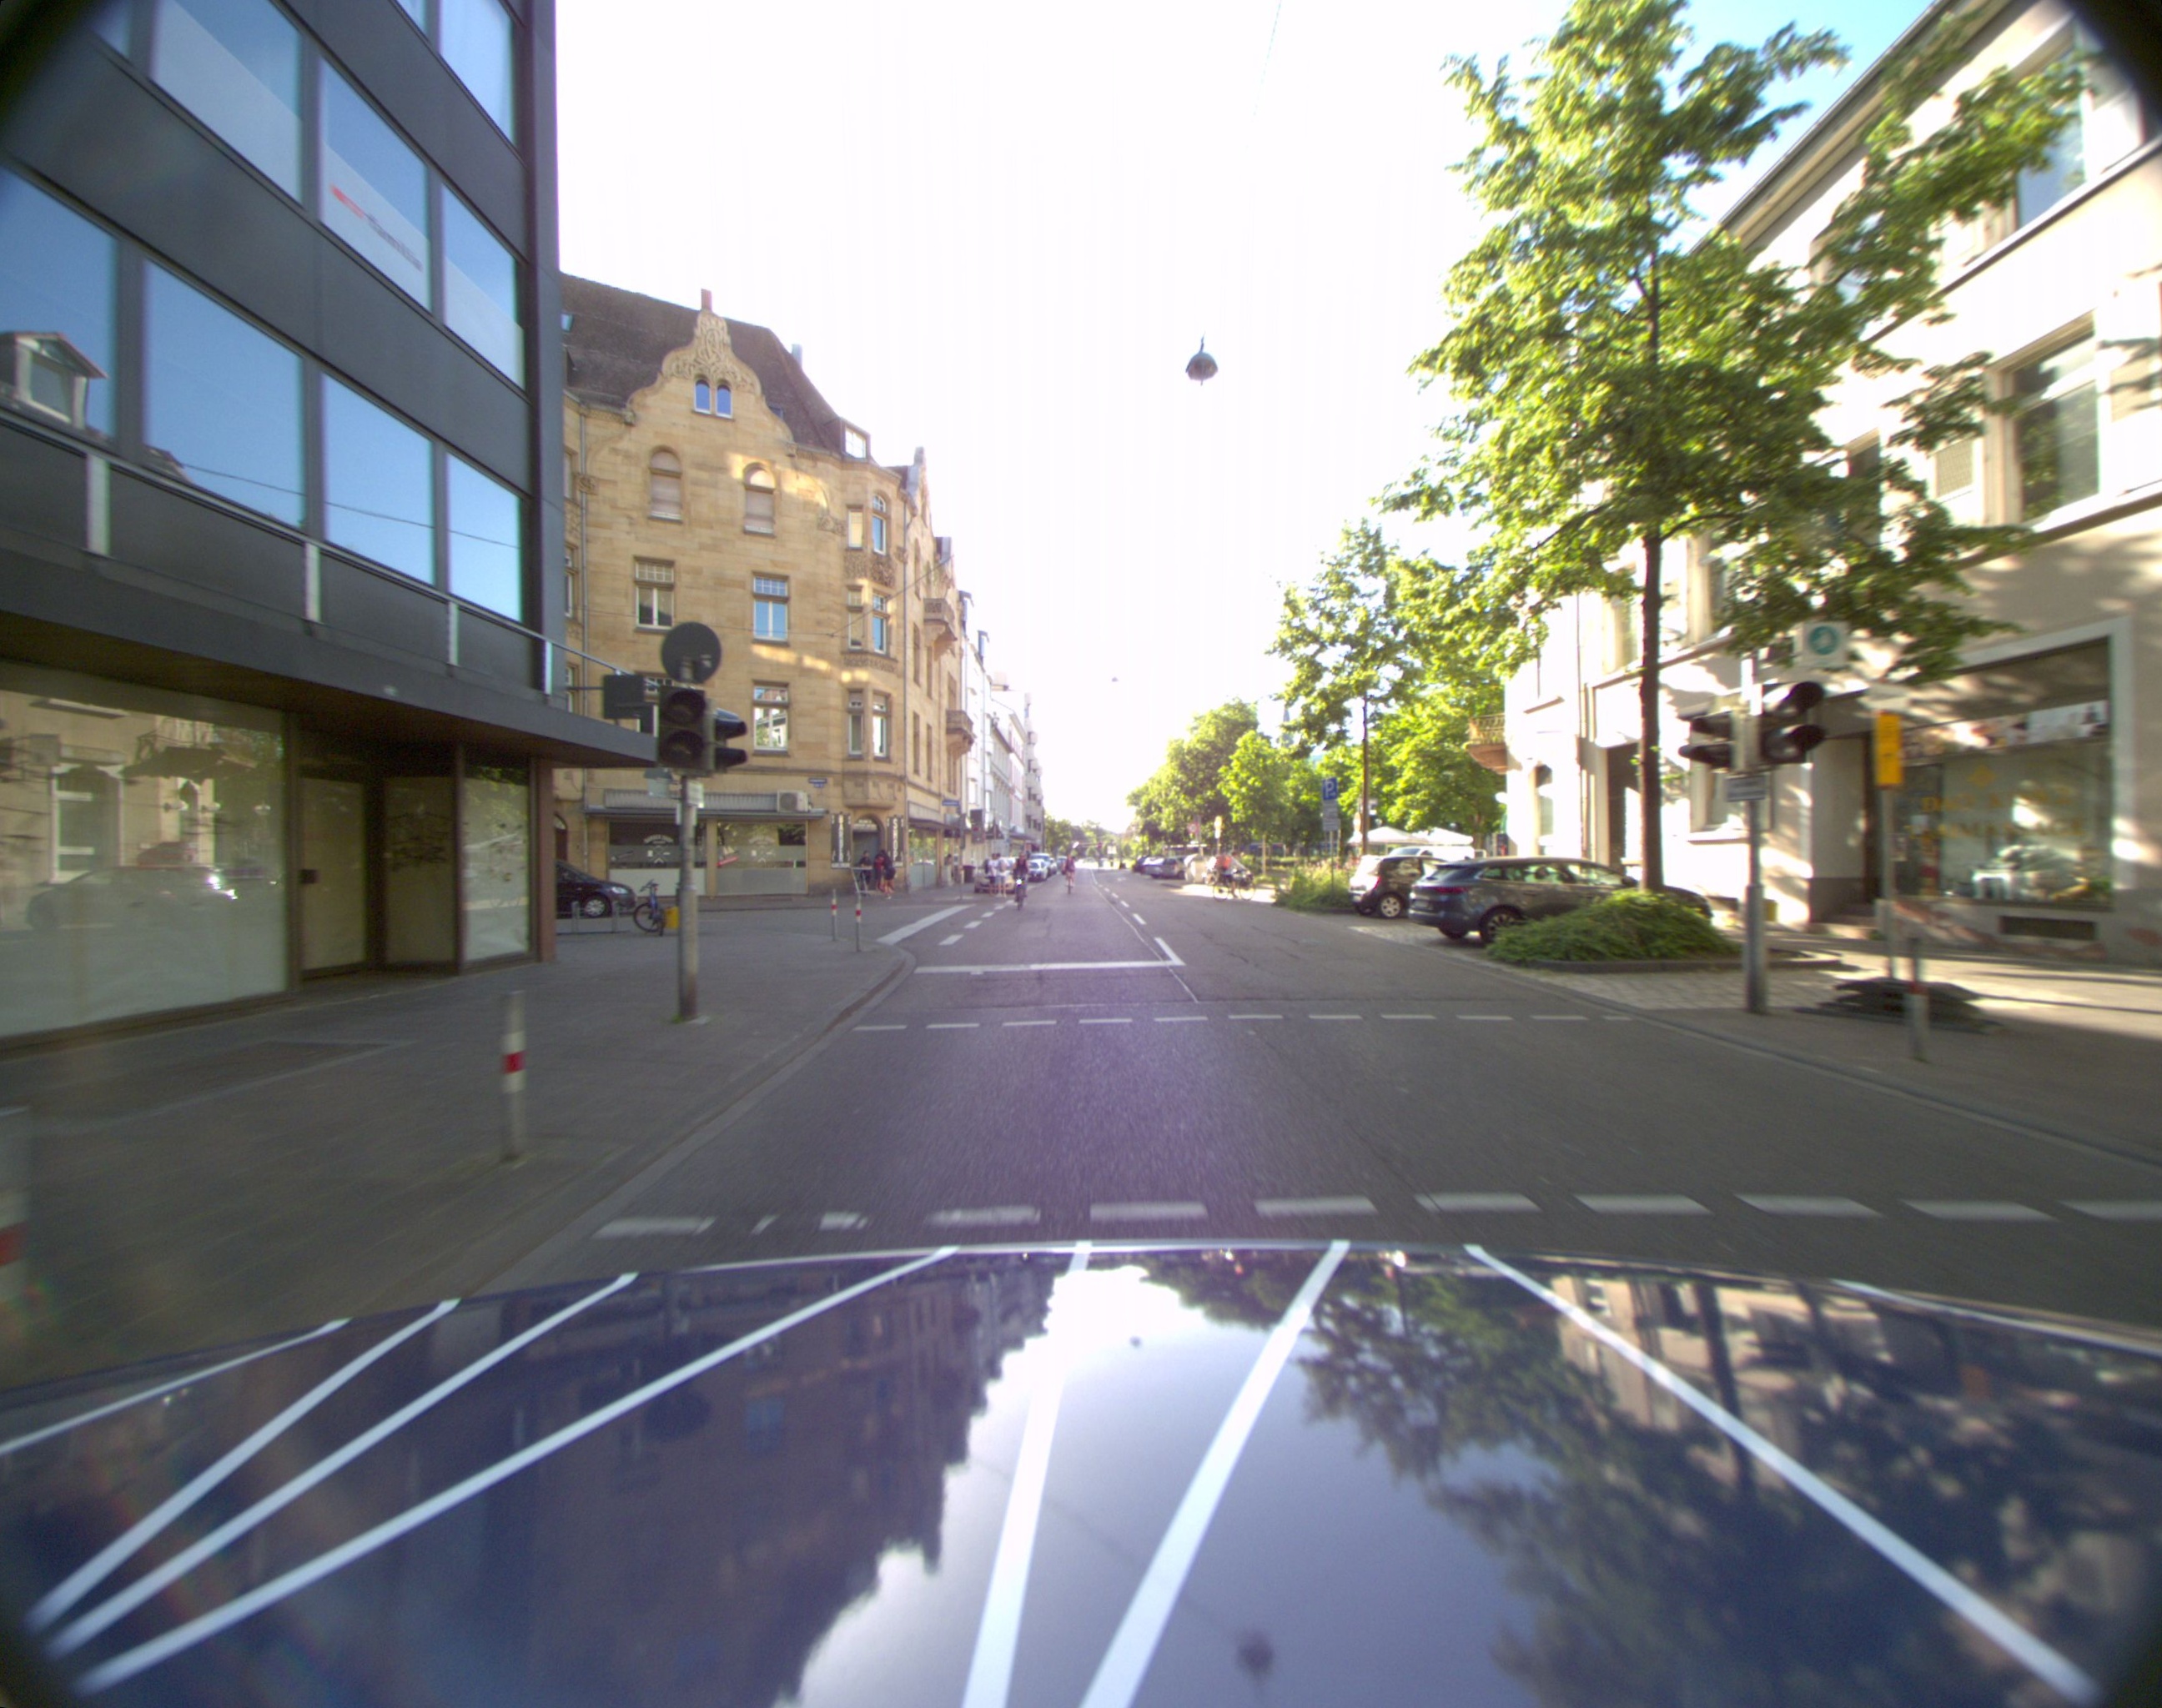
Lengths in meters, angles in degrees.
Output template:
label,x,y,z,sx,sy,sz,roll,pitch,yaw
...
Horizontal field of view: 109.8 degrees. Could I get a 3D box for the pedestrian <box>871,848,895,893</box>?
label,x,y,z,sx,sy,sz,roll,pitch,yaw
pedestrian,-7.676,0.633,29.435,0.498,1.683,0.717,-1,1,28

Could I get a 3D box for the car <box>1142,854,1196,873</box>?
label,x,y,z,sx,sy,sz,roll,pitch,yaw
car,7.290,0.812,63.206,4.001,1.465,1.998,-1,0,-12

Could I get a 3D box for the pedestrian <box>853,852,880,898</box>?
label,x,y,z,sx,sy,sz,roll,pitch,yaw
pedestrian,-8.013,0.792,28.403,0.618,1.683,0.717,-1,1,28

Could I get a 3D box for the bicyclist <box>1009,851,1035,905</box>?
label,x,y,z,sx,sy,sz,roll,pitch,yaw
bicyclist,-1.745,0.691,22.540,0.658,1.562,0.909,-1,0,1

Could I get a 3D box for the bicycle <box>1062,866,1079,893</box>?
label,x,y,z,sx,sy,sz,roll,pitch,yaw
bicycle,-0.460,1.128,33.712,0.718,1.105,2.269,-1,0,-1

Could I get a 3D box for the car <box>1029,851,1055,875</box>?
label,x,y,z,sx,sy,sz,roll,pitch,yaw
car,-3.272,0.713,64.678,1.999,1.942,5.100,1,0,-1

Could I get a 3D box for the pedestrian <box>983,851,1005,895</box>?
label,x,y,z,sx,sy,sz,roll,pitch,yaw
pedestrian,-3.466,0.756,30.255,0.699,1.709,0.693,1,1,-23

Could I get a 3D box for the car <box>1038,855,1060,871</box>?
label,x,y,z,sx,sy,sz,roll,pitch,yaw
car,-3.137,0.873,74.651,1.999,1.444,3.955,1,0,-1

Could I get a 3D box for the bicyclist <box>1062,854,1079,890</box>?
label,x,y,z,sx,sy,sz,roll,pitch,yaw
bicyclist,-0.469,0.803,33.602,0.718,1.553,0.864,-1,1,-1

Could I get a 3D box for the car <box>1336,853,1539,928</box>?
label,x,y,z,sx,sy,sz,roll,pitch,yaw
car,8.493,0.845,18.373,3.997,1.630,1.944,-1,0,0

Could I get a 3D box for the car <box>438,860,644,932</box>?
label,x,y,z,sx,sy,sz,roll,pitch,yaw
car,-14.801,1.086,21.161,4.323,1.761,1.996,-1,0,-24

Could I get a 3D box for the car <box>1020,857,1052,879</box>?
label,x,y,z,sx,sy,sz,roll,pitch,yaw
car,-3.239,0.987,55.318,1.998,1.482,4.000,1,0,1

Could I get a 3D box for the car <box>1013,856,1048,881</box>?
label,x,y,z,sx,sy,sz,roll,pitch,yaw
car,-3.366,0.966,51.182,1.998,1.565,4.000,1,0,1

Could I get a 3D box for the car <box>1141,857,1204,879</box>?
label,x,y,z,sx,sy,sz,roll,pitch,yaw
car,6.487,0.950,53.864,4.006,1.433,1.995,-1,0,-31

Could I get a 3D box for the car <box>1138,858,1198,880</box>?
label,x,y,z,sx,sy,sz,roll,pitch,yaw
car,6.544,1.096,57.014,4.005,1.465,1.996,-1,0,-26

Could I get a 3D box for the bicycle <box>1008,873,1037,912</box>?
label,x,y,z,sx,sy,sz,roll,pitch,yaw
bicycle,-1.732,1.117,22.664,0.666,1.061,1.836,-1,0,1

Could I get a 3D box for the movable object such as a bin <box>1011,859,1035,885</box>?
label,x,y,z,sx,sy,sz,roll,pitch,yaw
movable object such as a bin,-3.416,1.051,44.553,1.147,1.413,1.411,2,1,4

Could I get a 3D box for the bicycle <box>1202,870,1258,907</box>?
label,x,y,z,sx,sy,sz,roll,pitch,yaw
bicycle,5.054,1.157,25.747,1.947,1.151,0.667,-2,1,-34

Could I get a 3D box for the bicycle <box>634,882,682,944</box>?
label,x,y,z,sx,sy,sz,roll,pitch,yaw
bicycle,-8.577,1.162,15.372,0.574,1.154,1.740,0,-1,-39

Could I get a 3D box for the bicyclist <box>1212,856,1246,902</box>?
label,x,y,z,sx,sy,sz,roll,pitch,yaw
bicyclist,5.026,0.834,25.728,0.891,1.516,0.667,-2,1,-34

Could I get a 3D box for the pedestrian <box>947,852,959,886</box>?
label,x,y,z,sx,sy,sz,roll,pitch,yaw
pedestrian,-6.608,0.779,39.228,0.536,1.732,0.598,-1,1,-4

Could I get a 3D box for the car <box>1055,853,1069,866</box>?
label,x,y,z,sx,sy,sz,roll,pitch,yaw
car,-2.911,0.816,117.817,1.998,2.002,4.000,-1,0,1

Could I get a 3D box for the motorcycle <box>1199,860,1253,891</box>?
label,x,y,z,sx,sy,sz,roll,pitch,yaw
motorcycle,6.886,1.020,36.175,2.316,1.415,1.002,-1,0,28

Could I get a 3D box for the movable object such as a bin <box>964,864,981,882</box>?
label,x,y,z,sx,sy,sz,roll,pitch,yaw
movable object such as a bin,-6.415,1.112,44.952,0.725,1.042,0.664,2,-1,10

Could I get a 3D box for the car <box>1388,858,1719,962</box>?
label,x,y,z,sx,sy,sz,roll,pitch,yaw
car,7.761,0.889,12.842,4.349,1.535,1.945,-1,0,2

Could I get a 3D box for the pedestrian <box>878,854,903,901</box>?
label,x,y,z,sx,sy,sz,roll,pitch,yaw
pedestrian,-6.932,0.848,27.643,0.617,1.682,0.677,2,3,44

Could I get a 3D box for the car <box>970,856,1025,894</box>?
label,x,y,z,sx,sy,sz,roll,pitch,yaw
car,-3.679,0.885,34.171,1.978,1.565,4.126,1,0,1

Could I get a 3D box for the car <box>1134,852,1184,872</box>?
label,x,y,z,sx,sy,sz,roll,pitch,yaw
car,7.046,0.670,68.571,4.003,1.684,1.997,-1,0,-19

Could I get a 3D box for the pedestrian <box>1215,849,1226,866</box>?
label,x,y,z,sx,sy,sz,roll,pitch,yaw
pedestrian,10.023,0.268,54.677,0.521,1.250,0.525,-1,1,-33

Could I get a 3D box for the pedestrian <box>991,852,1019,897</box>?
label,x,y,z,sx,sy,sz,roll,pitch,yaw
pedestrian,-2.987,0.793,29.787,0.693,1.709,0.897,2,1,25

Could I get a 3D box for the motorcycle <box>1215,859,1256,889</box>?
label,x,y,z,sx,sy,sz,roll,pitch,yaw
motorcycle,7.520,0.987,37.000,1.750,1.415,0.831,-1,0,27

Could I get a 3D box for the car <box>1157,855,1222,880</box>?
label,x,y,z,sx,sy,sz,roll,pitch,yaw
car,7.380,0.909,51.643,4.006,1.553,1.995,-1,0,-31

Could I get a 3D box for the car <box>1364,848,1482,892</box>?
label,x,y,z,sx,sy,sz,roll,pitch,yaw
car,16.043,0.737,35.626,5.336,1.933,2.070,0,0,-25

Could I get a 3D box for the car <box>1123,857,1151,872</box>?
label,x,y,z,sx,sy,sz,roll,pitch,yaw
car,5.548,1.013,74.921,1.771,1.421,4.006,-1,0,20
